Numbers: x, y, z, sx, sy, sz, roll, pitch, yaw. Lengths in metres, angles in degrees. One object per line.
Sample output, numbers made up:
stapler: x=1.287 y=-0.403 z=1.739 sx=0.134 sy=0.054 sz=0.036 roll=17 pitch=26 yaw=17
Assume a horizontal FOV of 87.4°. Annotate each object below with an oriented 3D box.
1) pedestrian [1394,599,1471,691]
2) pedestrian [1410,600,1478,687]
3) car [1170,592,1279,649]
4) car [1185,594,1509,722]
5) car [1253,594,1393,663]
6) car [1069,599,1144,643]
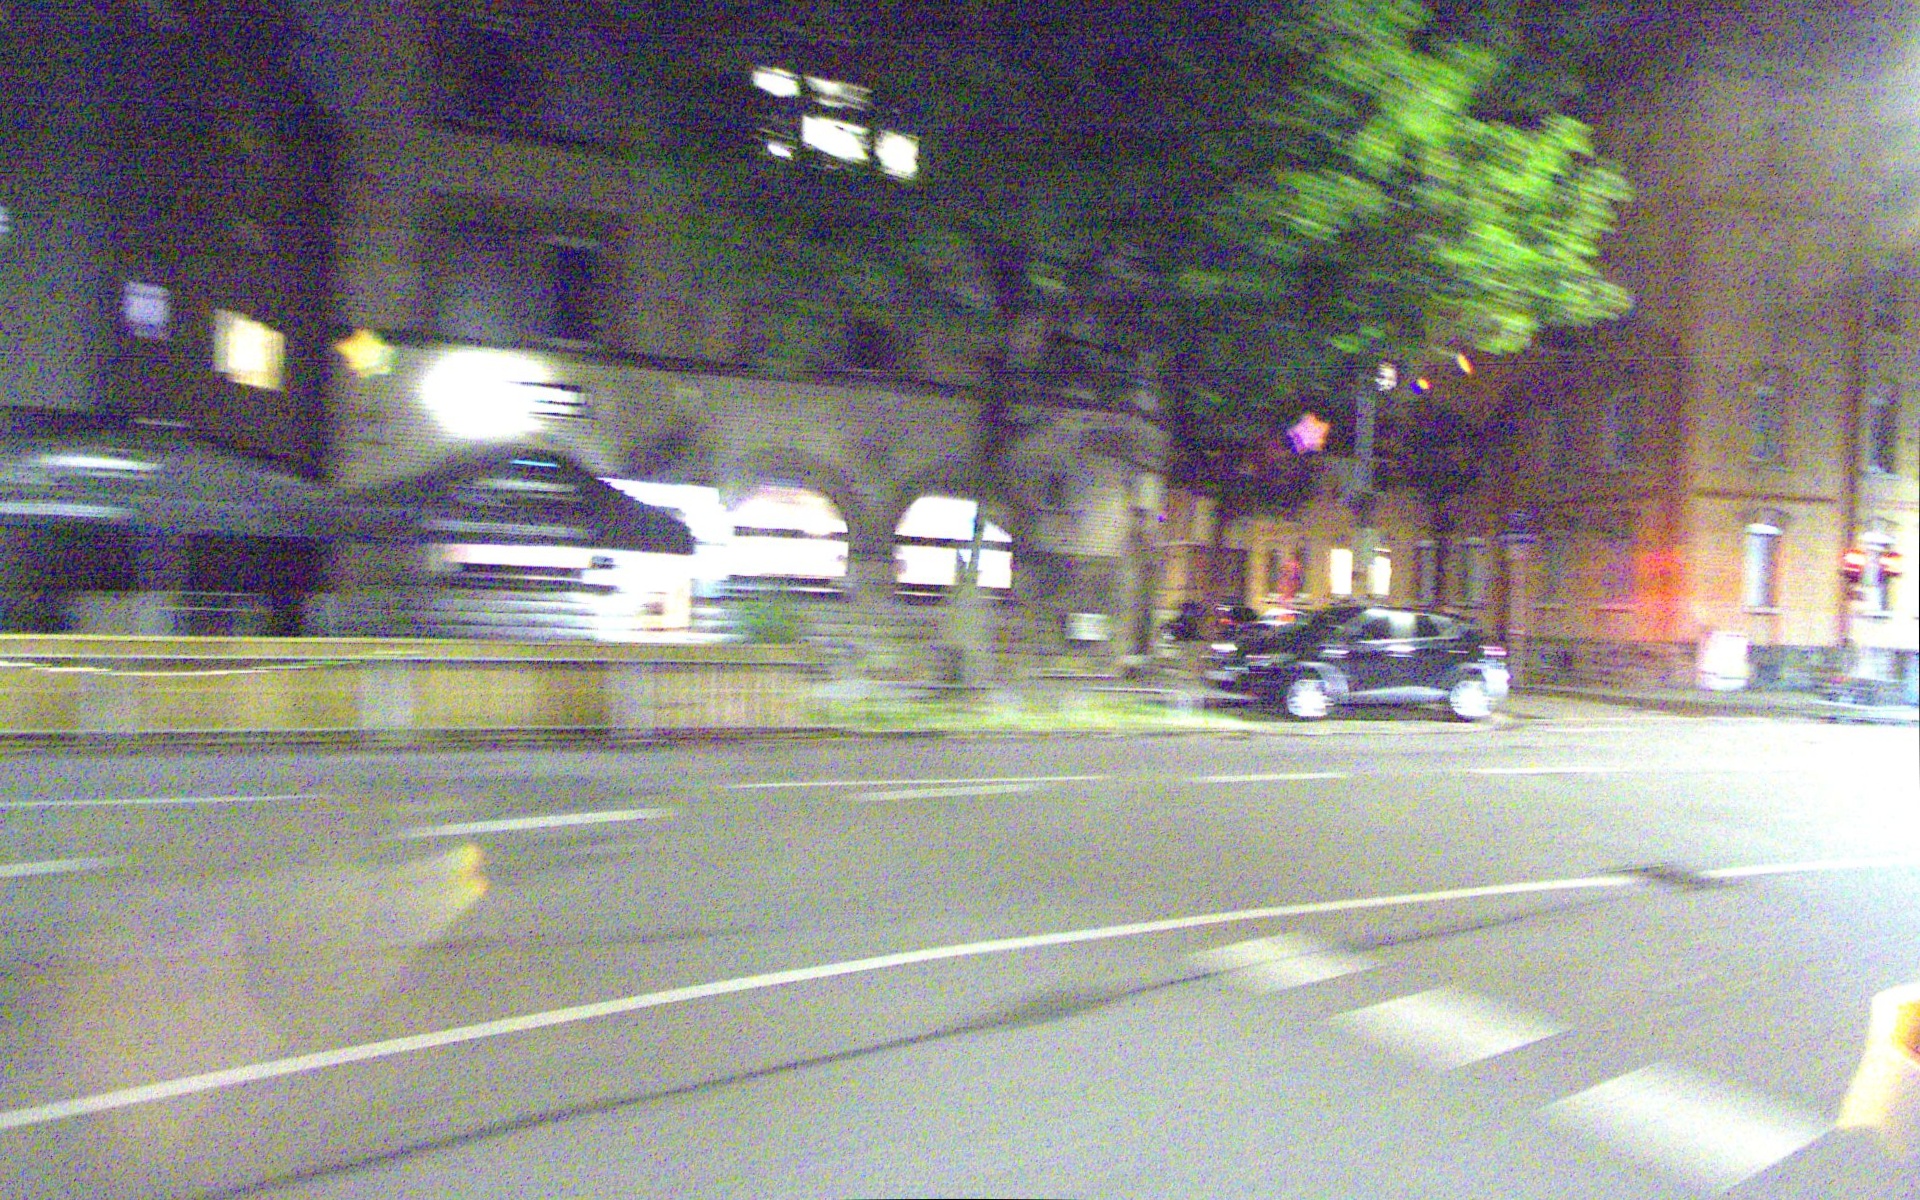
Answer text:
pedestrian: x=9.082 y=0.850 z=19.347 sx=1.102 sy=1.713 sz=0.711 roll=1 pitch=0 yaw=-4
pedestrian: x=9.751 y=0.865 z=20.256 sx=0.978 sy=1.713 sz=0.711 roll=1 pitch=0 yaw=-4
car: x=8.994 y=0.662 z=34.541 sx=1.869 sy=1.799 sz=3.987 roll=2 pitch=0 yaw=-15
car: x=5.526 y=0.808 z=14.549 sx=3.954 sy=1.618 sz=1.887 roll=2 pitch=2 yaw=-13
car: x=10.450 y=0.777 z=29.239 sx=1.869 sy=1.799 sz=3.987 roll=2 pitch=0 yaw=-15
car: x=6.445 y=0.894 z=44.727 sx=1.869 sy=1.799 sz=3.987 roll=2 pitch=0 yaw=-15
